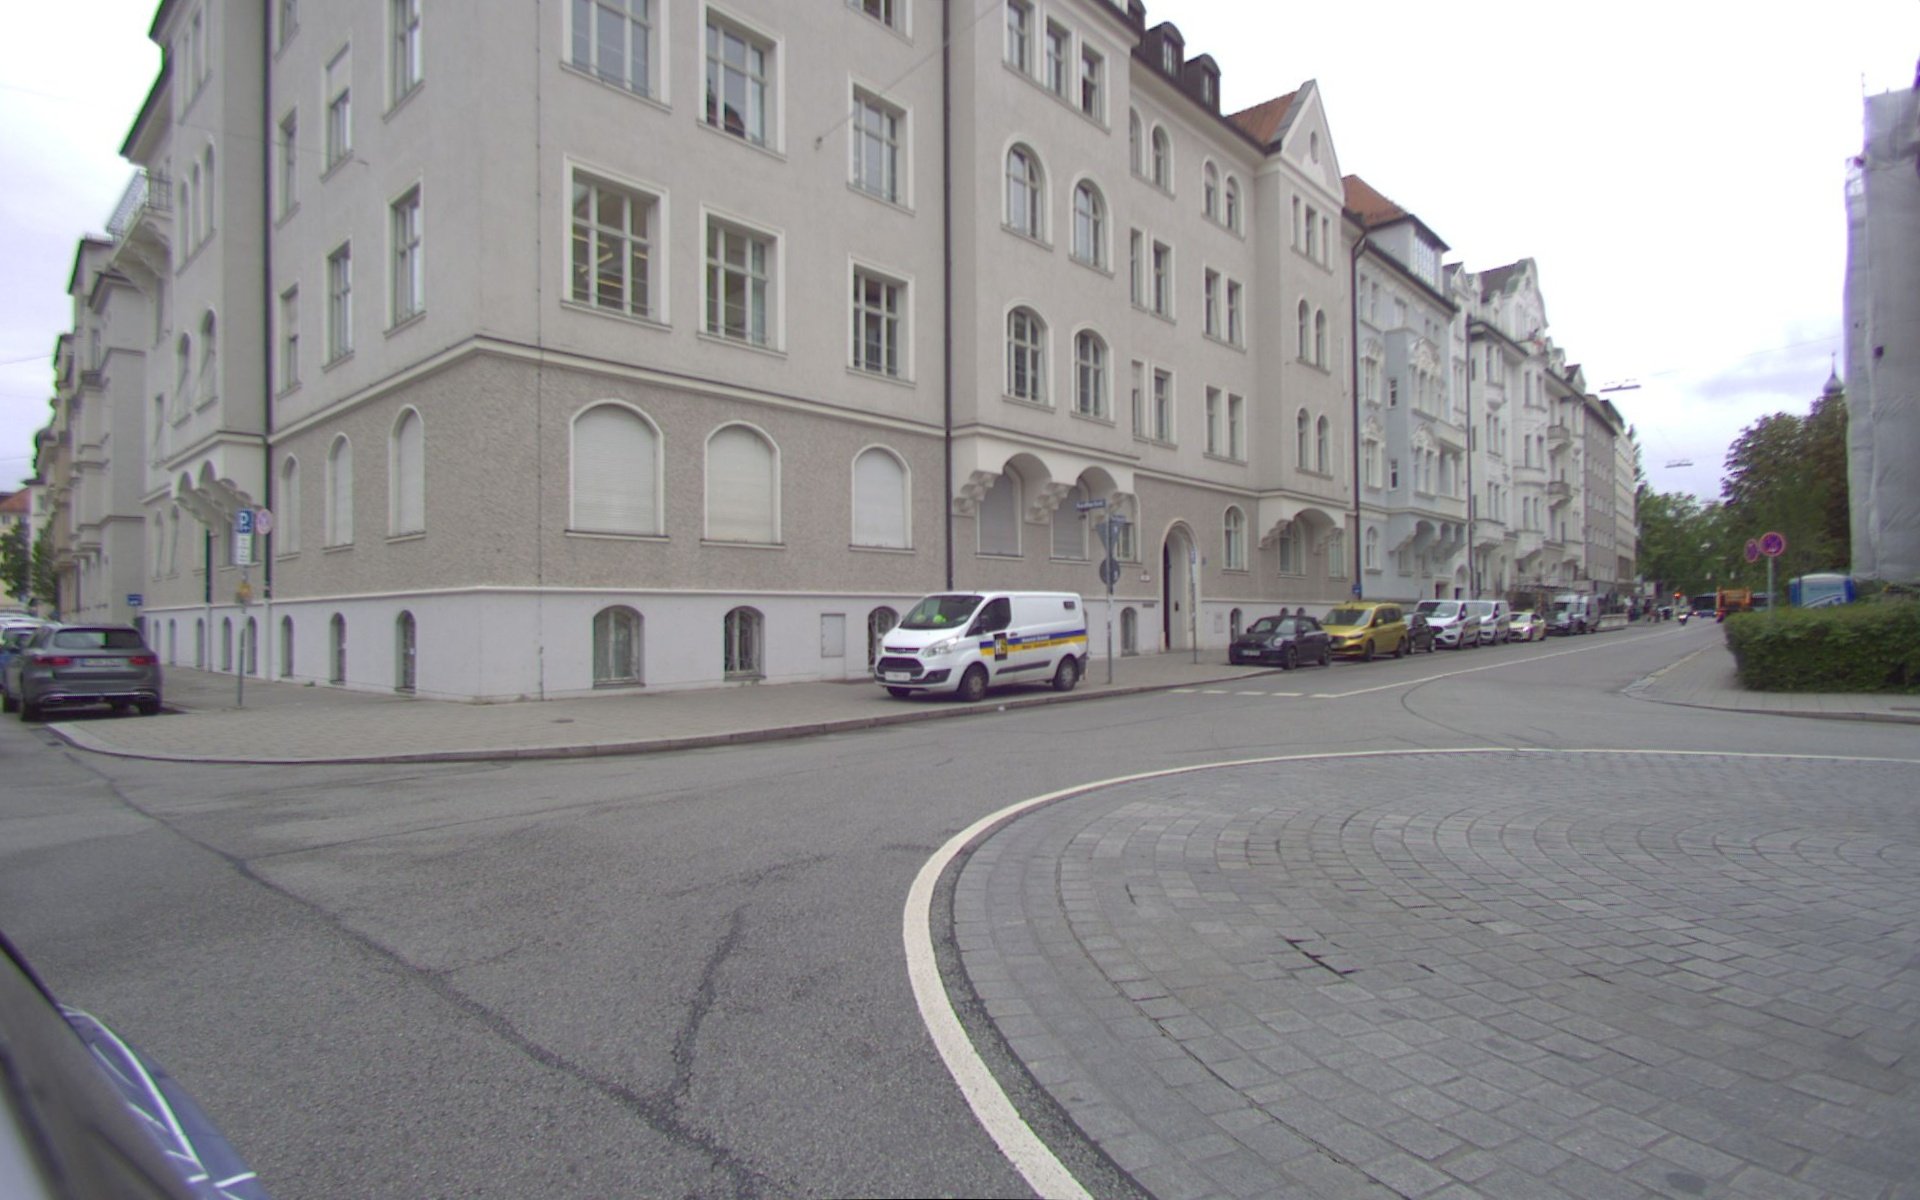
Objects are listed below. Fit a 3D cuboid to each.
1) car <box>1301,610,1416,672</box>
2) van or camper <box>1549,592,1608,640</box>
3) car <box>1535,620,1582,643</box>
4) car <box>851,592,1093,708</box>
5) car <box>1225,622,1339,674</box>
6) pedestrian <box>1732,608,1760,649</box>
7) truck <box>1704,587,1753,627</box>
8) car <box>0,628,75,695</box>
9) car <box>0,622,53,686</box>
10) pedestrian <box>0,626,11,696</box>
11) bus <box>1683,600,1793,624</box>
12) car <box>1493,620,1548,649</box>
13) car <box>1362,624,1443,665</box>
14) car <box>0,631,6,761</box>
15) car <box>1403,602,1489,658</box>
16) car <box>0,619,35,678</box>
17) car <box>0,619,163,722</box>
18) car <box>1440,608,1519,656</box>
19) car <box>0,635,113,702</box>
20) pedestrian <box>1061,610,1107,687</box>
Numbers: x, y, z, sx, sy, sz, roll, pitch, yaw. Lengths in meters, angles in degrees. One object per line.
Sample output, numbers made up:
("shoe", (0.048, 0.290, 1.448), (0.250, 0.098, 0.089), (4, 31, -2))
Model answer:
("car", (12.687, 1.274, 32.119), (2.027, 1.853, 4.076), (-2, -2, 43))
("van or camper", (39.284, 0.984, 64.187), (2.000, 2.935, 6.347), (-1, -1, 42))
("car", (35.137, 1.843, 59.384), (1.697, 1.357, 3.490), (-2, -2, 41))
("car", (0.372, 0.861, 19.030), (1.923, 1.895, 4.845), (-2, -2, 40))
("car", (9.017, 1.292, 28.225), (1.697, 1.357, 3.629), (-2, -2, 42))
("pedestrian", (33.727, 1.218, 43.435), (0.876, 1.740, 1.038), (-2, -2, 40))
("truck", (75.124, 0.731, 98.846), (3.190, 3.651, 8.611), (-2, -2, 41))
("car", (-24.598, 1.562, 26.402), (4.495, 1.614, 1.728), (-2, -3, 42))
("car", (-28.766, 1.592, 30.444), (5.037, 1.802, 1.727), (-2, -3, 43))
("pedestrian", (-24.475, 1.527, 25.206), (0.862, 1.769, 0.967), (0, -1, -15))
("bus", (97.994, 1.519, 127.438), (14.307, 2.921, 2.730), (0, -1, -15))
("car", (27.378, 1.676, 49.382), (1.696, 1.357, 3.491), (-2, -2, 41))
("car", (15.799, 1.551, 36.047), (1.696, 1.357, 3.491), (-2, -2, 41))
("car", (-13.299, 1.117, 11.926), (4.875, 1.459, 1.870), (-1, -1, 33))
("car", (19.588, 1.194, 40.692), (2.122, 2.108, 4.760), (-1, -2, 38))
("car", (-33.232, 1.634, 34.692), (4.957, 1.953, 1.835), (-2, -3, 43))
("car", (-15.787, 1.182, 18.053), (4.495, 1.614, 1.728), (-2, -3, 42))
("car", (23.356, 1.424, 45.405), (2.123, 2.009, 4.757), (-2, -2, 40))
("car", (-21.120, 1.524, 23.263), (3.655, 1.425, 1.677), (-1, -3, 36))
("pedestrian", (2.717, 1.044, 22.152), (0.850, 1.648, 0.728), (-1, -2, 22))
